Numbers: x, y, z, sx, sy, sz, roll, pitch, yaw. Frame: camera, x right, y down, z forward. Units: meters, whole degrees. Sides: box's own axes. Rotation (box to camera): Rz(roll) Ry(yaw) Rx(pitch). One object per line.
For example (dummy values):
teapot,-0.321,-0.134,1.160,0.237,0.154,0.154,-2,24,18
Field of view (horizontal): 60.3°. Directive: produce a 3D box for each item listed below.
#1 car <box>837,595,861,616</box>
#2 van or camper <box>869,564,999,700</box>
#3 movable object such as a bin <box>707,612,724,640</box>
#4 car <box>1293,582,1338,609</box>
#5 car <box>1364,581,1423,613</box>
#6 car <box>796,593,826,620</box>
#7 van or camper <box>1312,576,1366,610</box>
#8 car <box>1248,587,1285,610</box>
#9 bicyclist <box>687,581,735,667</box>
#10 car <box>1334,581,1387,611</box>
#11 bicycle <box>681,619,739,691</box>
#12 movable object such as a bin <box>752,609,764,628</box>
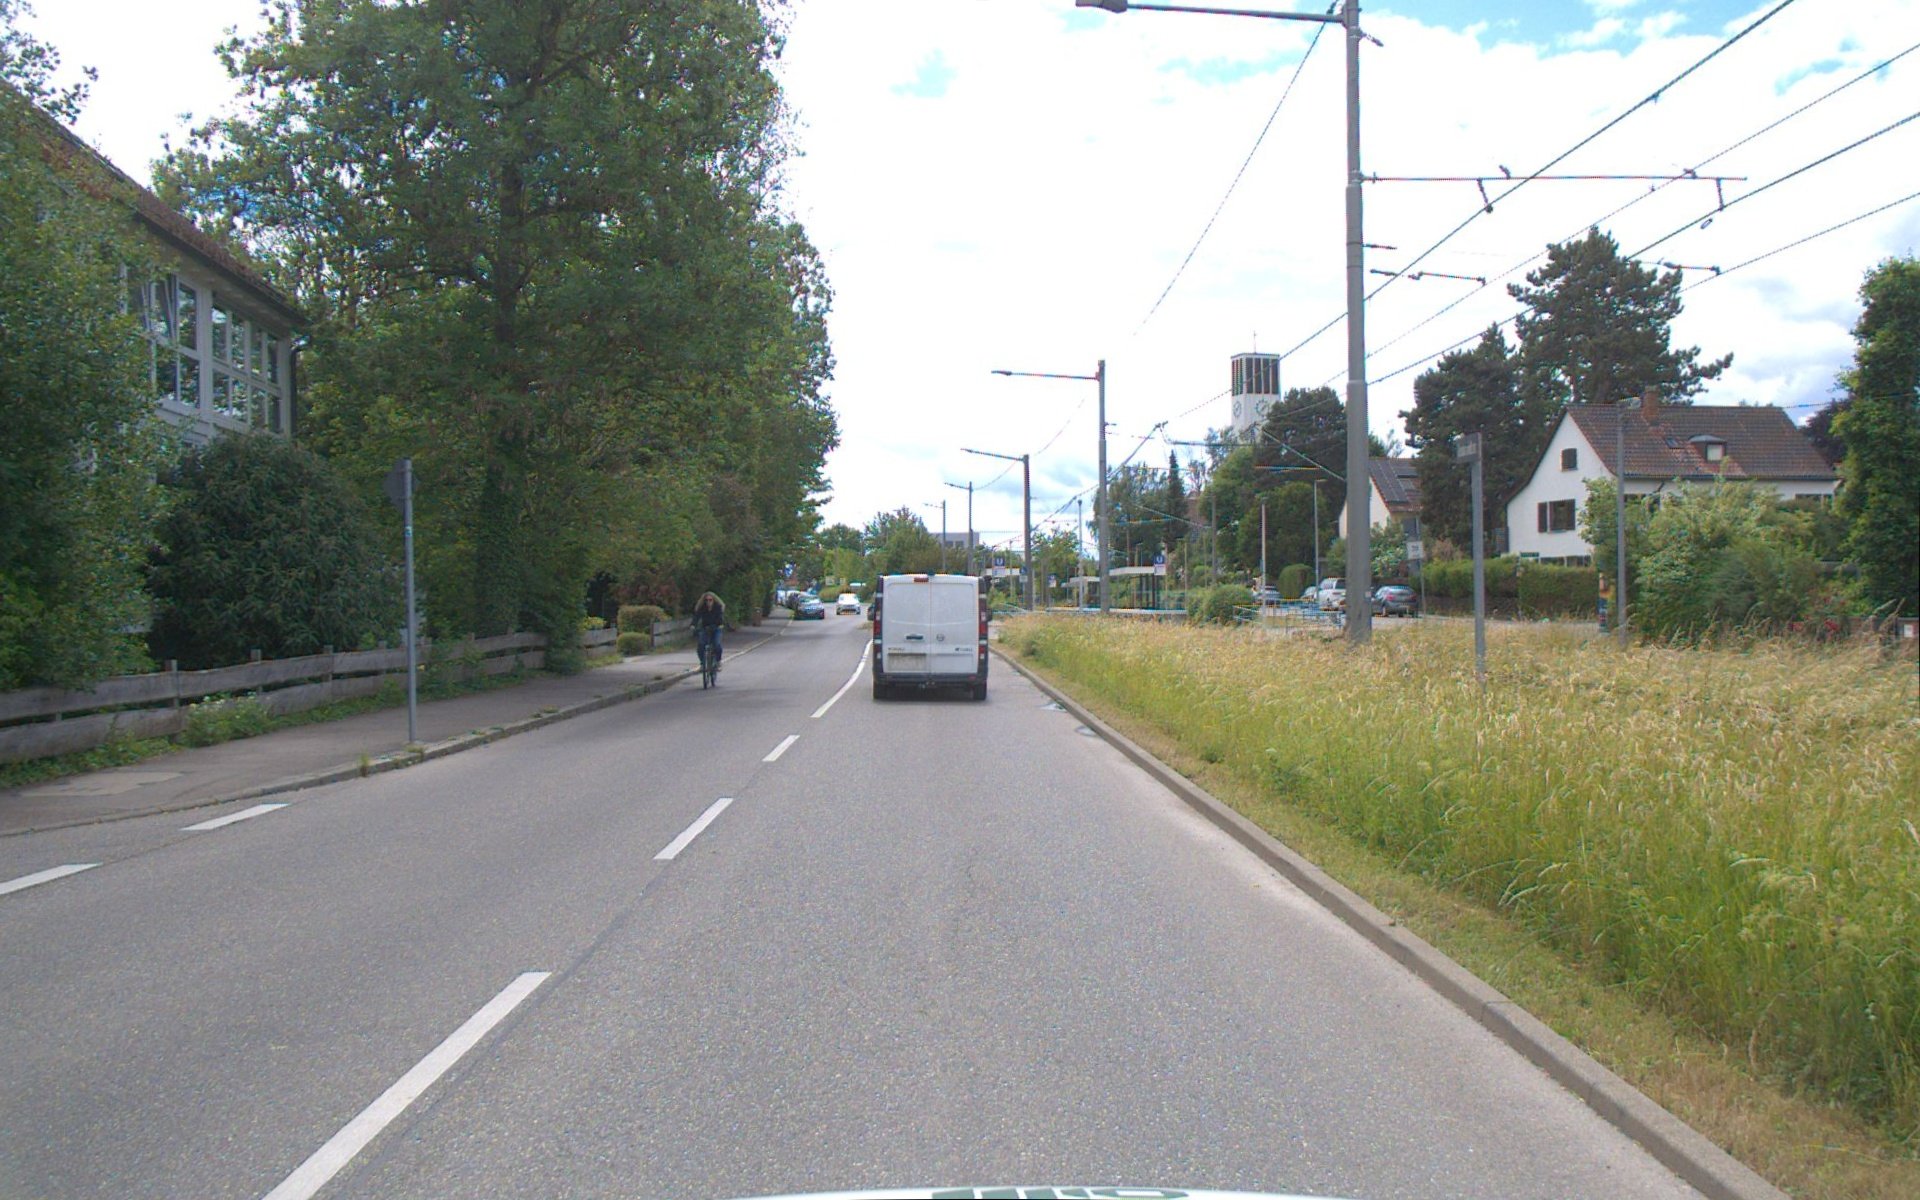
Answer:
car,-8.078,0.369,119.911,1.660,1.455,3.783,-2,0,-5
van or camper,-0.418,0.505,27.475,1.953,2.049,4.445,1,0,-1
movable object such as a bin,-8.441,0.883,57.078,0.503,0.961,0.568,1,0,-2
car,21.230,-0.276,98.912,1.845,1.548,4.000,-1,0,0
car,21.464,-0.145,82.047,1.845,1.548,4.000,-1,0,0
car,-9.370,0.392,103.773,1.704,1.531,4.470,-2,1,-7
van or camper,21.234,-0.393,92.943,1.866,1.858,5.047,-1,0,0
car,21.245,-0.105,114.780,1.845,1.548,4.000,-1,0,0
bicyclist,-4.708,0.446,31.275,0.762,1.576,0.869,-1,0,-1
car,21.314,-0.220,88.092,1.845,1.548,4.000,-1,0,0
bicycle,-4.665,1.006,30.968,0.740,1.248,2.308,-2,0,-1
movable object such as a bin,-10.311,0.944,84.439,0.455,0.946,0.428,3,-1,-18
